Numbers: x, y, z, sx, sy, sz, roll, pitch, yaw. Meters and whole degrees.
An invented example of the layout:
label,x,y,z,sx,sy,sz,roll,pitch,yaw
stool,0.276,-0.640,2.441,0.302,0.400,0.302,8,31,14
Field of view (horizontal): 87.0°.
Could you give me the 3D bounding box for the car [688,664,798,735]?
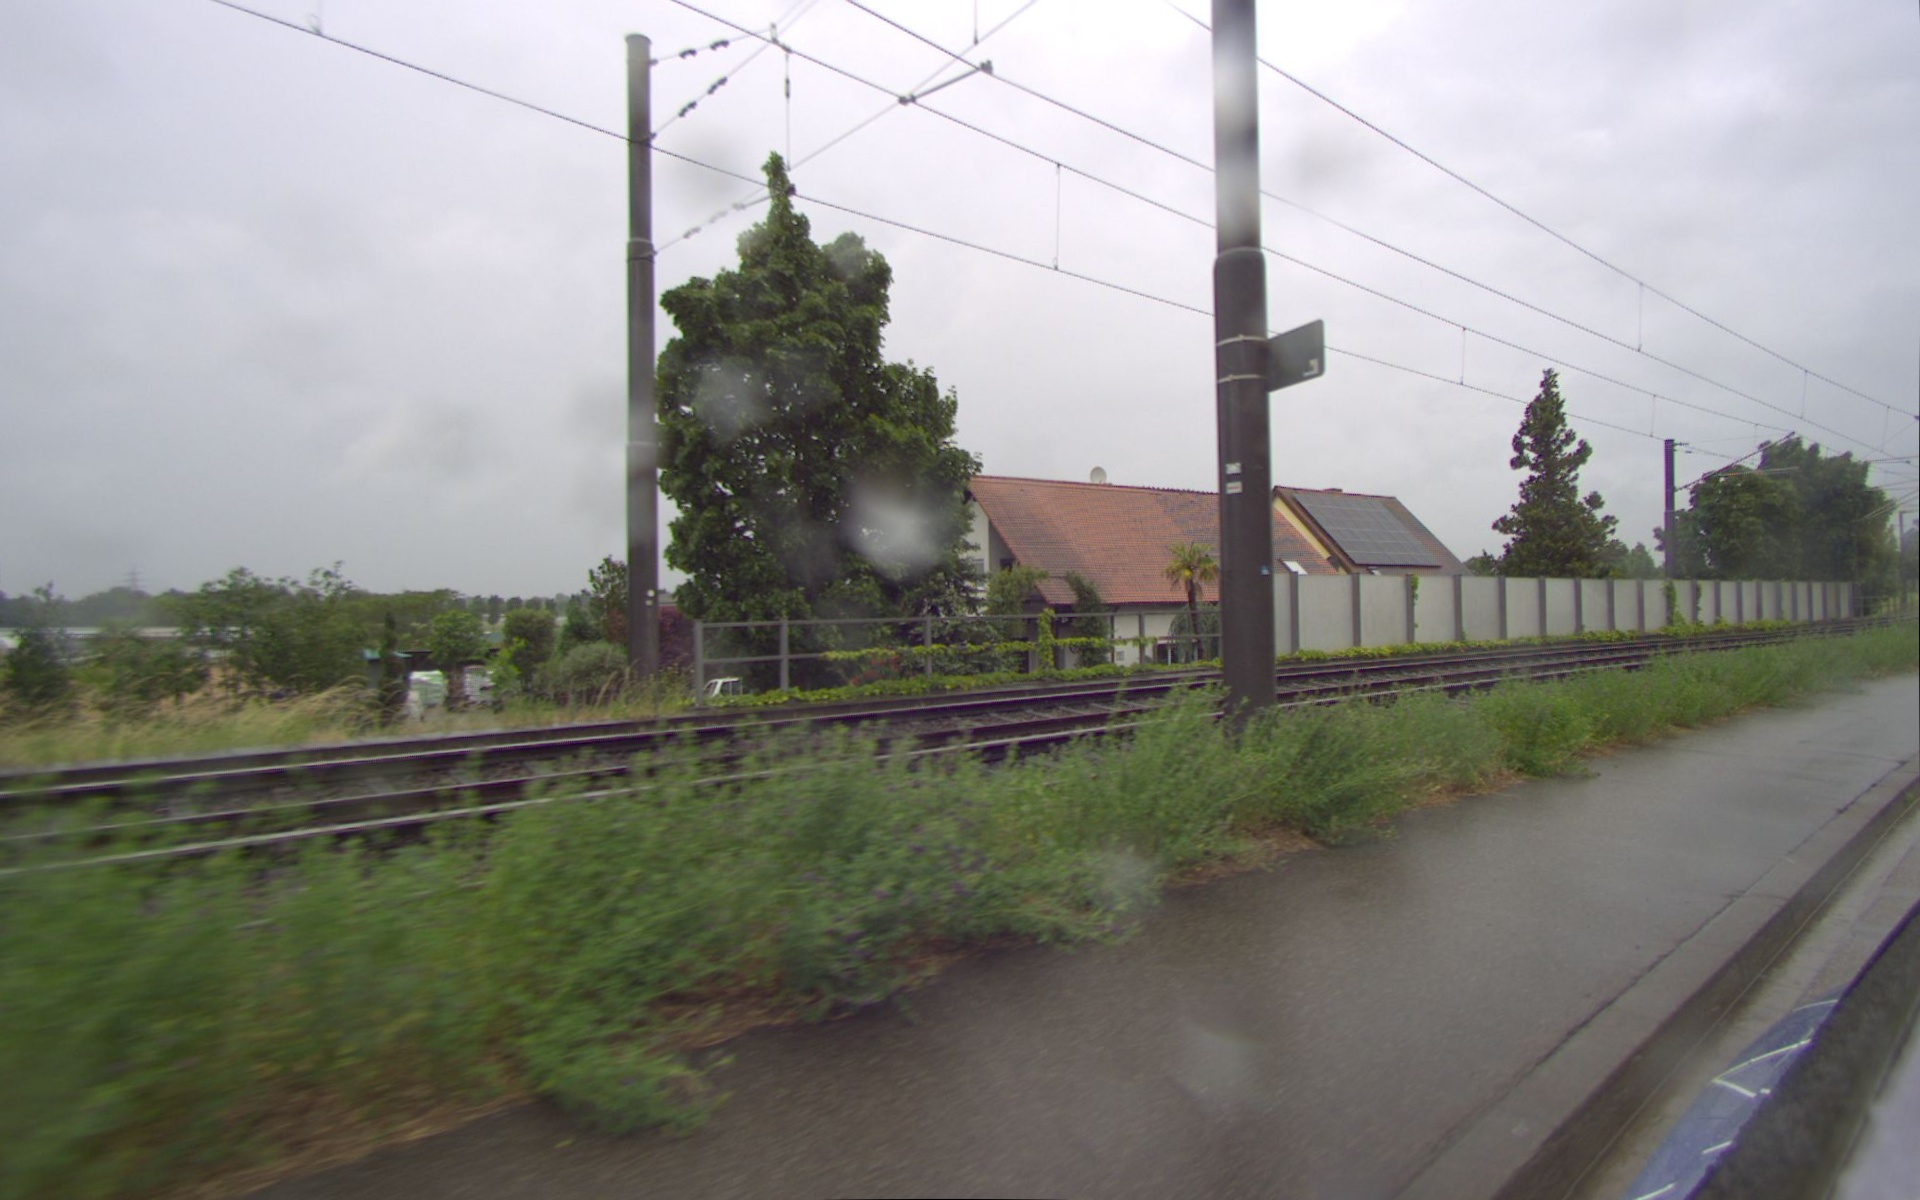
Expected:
label,x,y,z,sx,sy,sz,roll,pitch,yaw
car,-6.463,2.855,29.841,1.842,1.658,4.198,-2,0,-31
